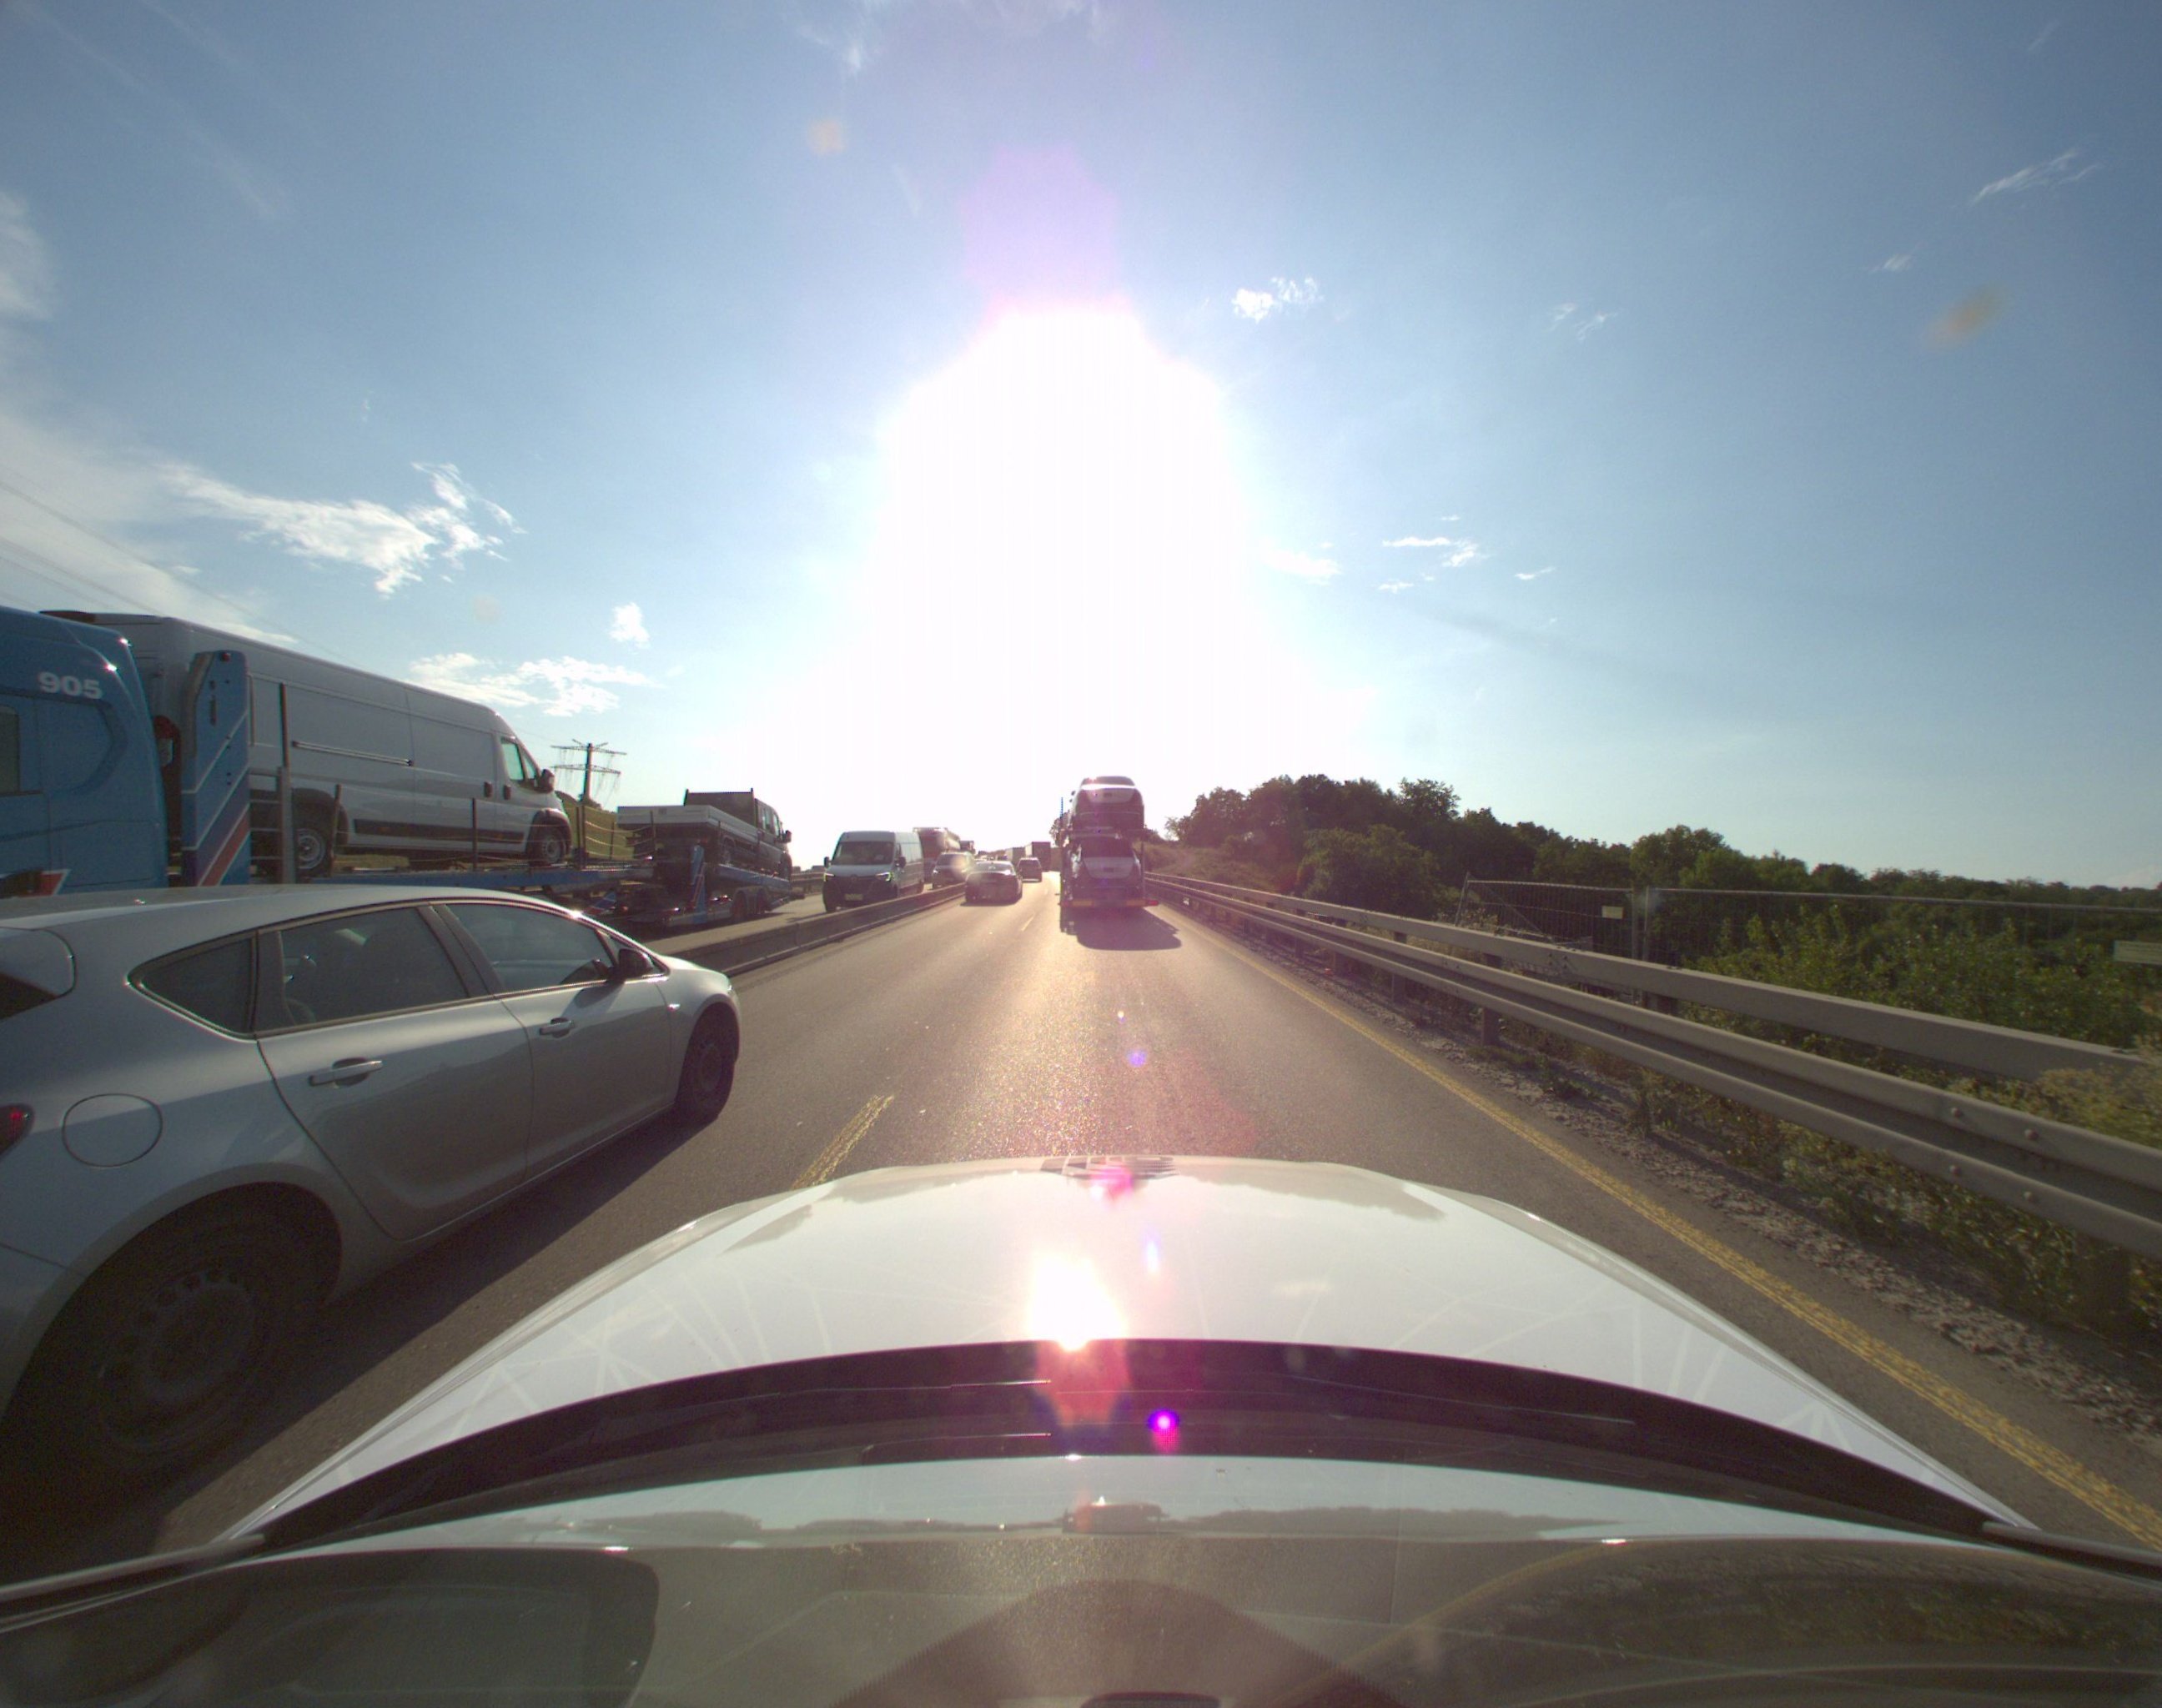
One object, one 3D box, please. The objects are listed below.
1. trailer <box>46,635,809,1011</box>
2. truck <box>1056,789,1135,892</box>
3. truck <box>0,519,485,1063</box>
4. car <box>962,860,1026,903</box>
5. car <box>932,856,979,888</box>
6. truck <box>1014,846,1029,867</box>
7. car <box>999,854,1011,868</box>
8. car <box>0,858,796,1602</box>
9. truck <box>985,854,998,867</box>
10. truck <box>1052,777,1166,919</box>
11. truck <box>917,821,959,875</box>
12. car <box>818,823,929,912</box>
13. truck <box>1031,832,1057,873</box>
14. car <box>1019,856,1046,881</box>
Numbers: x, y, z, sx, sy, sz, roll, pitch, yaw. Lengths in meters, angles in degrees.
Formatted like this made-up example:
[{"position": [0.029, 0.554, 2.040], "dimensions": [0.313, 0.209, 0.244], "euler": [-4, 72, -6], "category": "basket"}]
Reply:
[{"position": [-9.393, -0.305, 16.189], "dimensions": [2.686, 3.873, 15.388], "euler": [-1, 0, 0], "category": "trailer"}, {"position": [0.385, -0.485, 35.148], "dimensions": [2.831, 3.792, 9.978], "euler": [-1, 0, -2], "category": "truck"}, {"position": [-9.307, -0.448, 7.985], "dimensions": [2.495, 4.065, 5.883], "euler": [-1, 0, 0], "category": "truck"}, {"position": [-3.160, 0.961, 30.469], "dimensions": [1.929, 1.398, 4.958], "euler": [-1, 0, -1], "category": "car"}, {"position": [-6.753, 0.929, 44.120], "dimensions": [1.875, 1.574, 4.191], "euler": [-1, 0, 0], "category": "car"}, {"position": [-10.764, 0.422, 147.777], "dimensions": [2.525, 3.648, 8.893], "euler": [-1, 0, -4], "category": "truck"}, {"position": [-13.434, 1.195, 143.784], "dimensions": [1.917, 2.492, 5.401], "euler": [-1, 0, -4], "category": "car"}, {"position": [-2.978, 0.781, 3.592], "dimensions": [1.749, 1.473, 4.355], "euler": [-1, 0, 2], "category": "car"}, {"position": [-21.573, 1.514, 196.889], "dimensions": [2.585, 3.170, 6.669], "euler": [-1, 0, -3], "category": "truck"}, {"position": [0.627, -0.132, 25.755], "dimensions": [2.791, 3.497, 10.600], "euler": [-1, 0, -1], "category": "truck"}, {"position": [-10.687, -0.381, 61.942], "dimensions": [2.311, 3.607, 11.945], "euler": [-1, 0, -6], "category": "truck"}, {"position": [-6.423, 0.386, 26.045], "dimensions": [2.099, 2.482, 6.062], "euler": [-1, 0, -2], "category": "car"}, {"position": [-5.228, -0.181, 112.587], "dimensions": [3.279, 5.236, 9.922], "euler": [-1, 0, -4], "category": "truck"}, {"position": [-3.280, 0.928, 55.162], "dimensions": [1.687, 1.596, 3.997], "euler": [-1, 0, -2], "category": "car"}]
